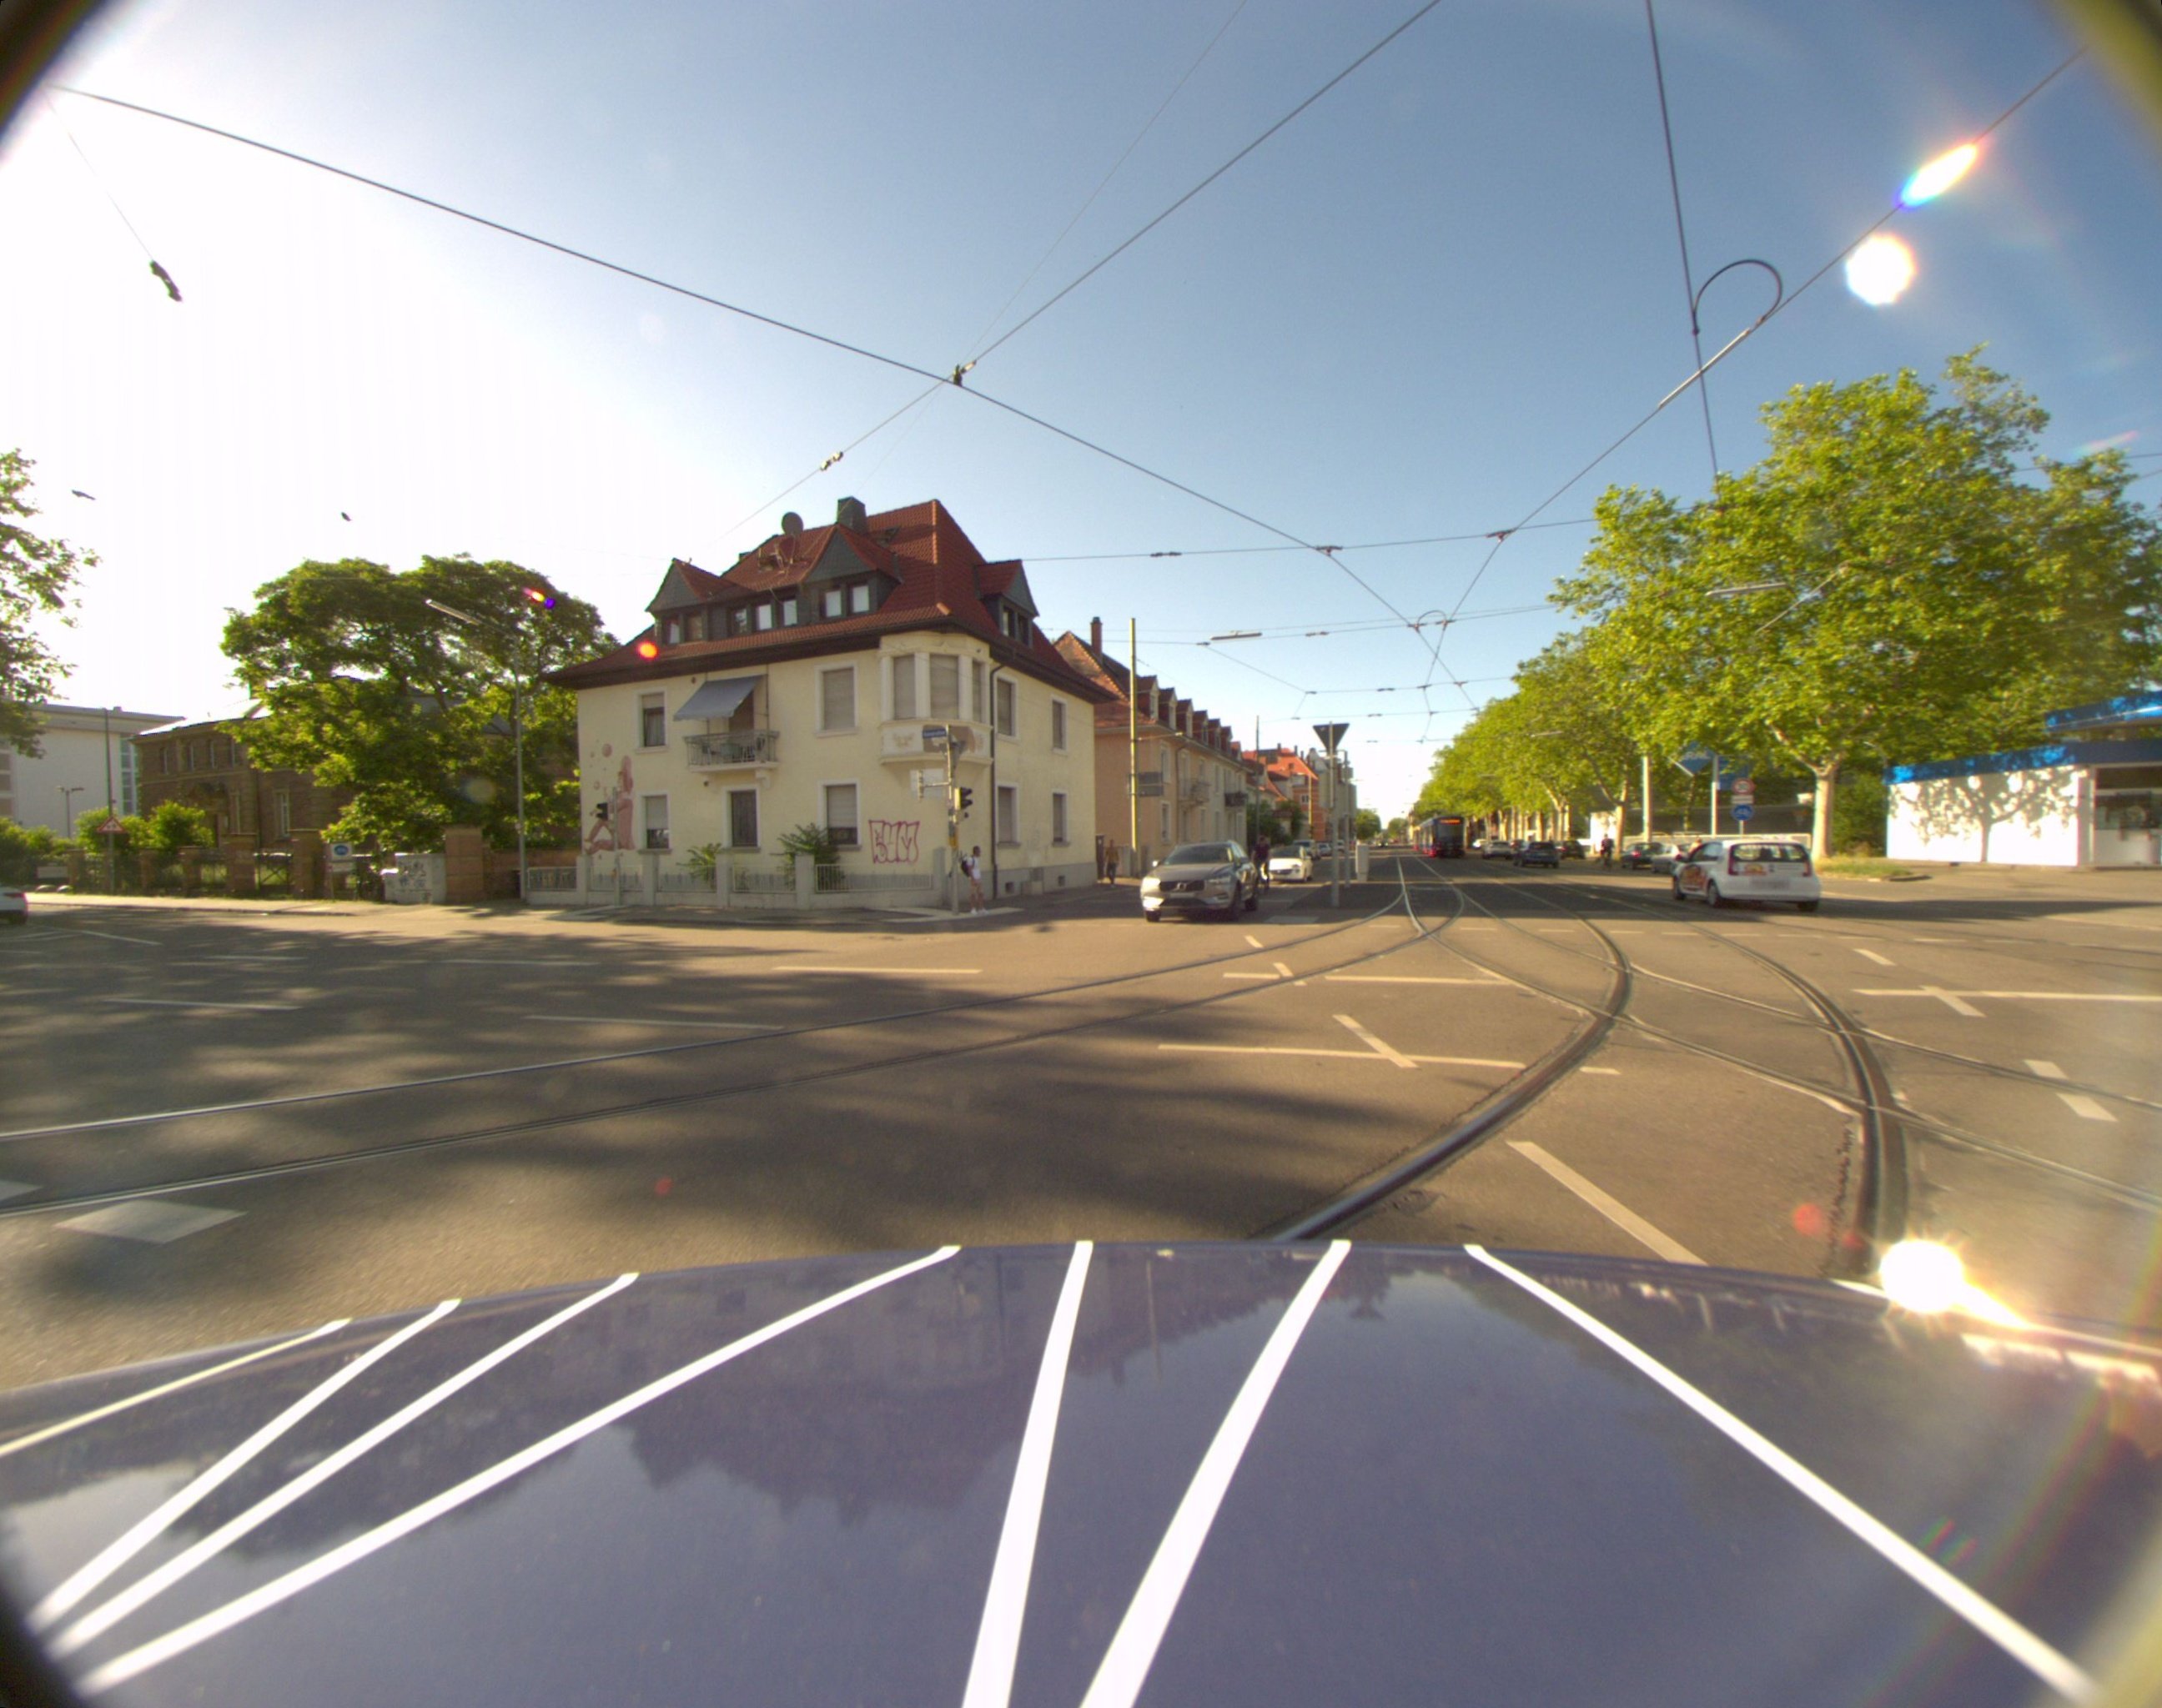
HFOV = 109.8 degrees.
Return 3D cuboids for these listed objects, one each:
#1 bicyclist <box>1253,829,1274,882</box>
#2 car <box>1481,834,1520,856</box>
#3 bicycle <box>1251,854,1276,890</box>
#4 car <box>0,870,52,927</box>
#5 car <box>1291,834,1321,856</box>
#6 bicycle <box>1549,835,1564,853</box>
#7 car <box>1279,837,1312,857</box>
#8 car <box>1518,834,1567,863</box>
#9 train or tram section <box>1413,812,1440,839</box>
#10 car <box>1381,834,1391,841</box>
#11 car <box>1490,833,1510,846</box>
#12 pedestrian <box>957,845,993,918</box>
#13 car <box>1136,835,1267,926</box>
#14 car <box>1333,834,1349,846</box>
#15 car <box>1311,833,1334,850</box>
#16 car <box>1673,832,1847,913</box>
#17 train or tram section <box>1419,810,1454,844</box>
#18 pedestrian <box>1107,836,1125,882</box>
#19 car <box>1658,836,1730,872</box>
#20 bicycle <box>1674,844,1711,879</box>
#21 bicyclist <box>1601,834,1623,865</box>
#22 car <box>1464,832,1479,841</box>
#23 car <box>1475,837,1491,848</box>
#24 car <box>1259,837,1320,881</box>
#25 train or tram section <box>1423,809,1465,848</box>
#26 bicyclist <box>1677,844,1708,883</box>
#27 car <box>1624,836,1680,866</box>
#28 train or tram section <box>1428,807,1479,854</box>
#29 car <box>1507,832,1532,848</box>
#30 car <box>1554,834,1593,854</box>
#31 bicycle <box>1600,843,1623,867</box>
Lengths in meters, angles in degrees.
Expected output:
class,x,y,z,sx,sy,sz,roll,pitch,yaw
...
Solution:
class,x,y,z,sx,sy,sz,roll,pitch,yaw
bicyclist,5.976,0.037,24.899,0.599,1.710,0.663,0,3,19
car,31.692,-0.718,57.479,1.995,1.489,4.352,3,4,21
bicycle,5.996,0.554,24.926,0.599,1.051,1.992,0,3,19
car,-31.335,1.234,21.146,4.492,1.446,1.921,0,3,19
car,20.016,-0.822,67.335,1.929,1.835,5.320,0,3,23
bicycle,32.264,-0.721,51.583,0.485,1.159,2.059,0,3,22
car,17.591,-0.604,62.237,1.878,1.478,4.006,1,3,26
car,25.565,-0.345,42.204,1.775,1.489,4.579,1,3,24
train or tram section,49.418,-4.073,108.939,3.058,3.593,11.964,0,2,22
car,67.157,-3.617,167.403,1.879,1.478,4.005,0,2,21
car,54.193,-1.872,98.263,1.879,1.543,4.005,1,3,24
pedestrian,-2.620,0.668,18.755,0.675,1.731,0.687,0,5,-26
car,2.783,0.447,16.632,1.914,1.622,4.508,0,2,21
car,36.515,-1.967,106.640,1.879,1.478,4.005,0,2,21
car,27.025,-1.463,84.774,1.929,1.750,5.320,0,3,23
car,14.309,0.291,16.280,1.719,1.489,3.588,0,3,24
train or tram section,40.415,-3.095,86.613,3.058,3.593,12.130,0,2,22
pedestrian,1.350,0.190,29.224,0.601,1.751,0.487,0,3,13
car,27.398,-0.016,34.063,1.776,1.416,3.543,-3,1,27
bicycle,22.146,0.253,27.542,0.485,1.159,1.960,0,3,22
bicyclist,27.394,-0.232,39.195,0.696,1.563,0.892,0,3,22
car,70.244,-3.136,136.669,1.879,1.543,4.004,0,2,20
car,60.230,-1.670,113.820,1.879,1.543,4.005,1,3,24
car,8.737,0.130,31.597,1.914,1.622,4.508,0,2,22
train or tram section,35.746,-2.576,75.222,3.058,3.593,12.518,0,2,22
bicyclist,22.125,0.335,27.517,0.604,1.332,0.899,0,3,22
car,29.954,-0.182,39.952,1.776,1.416,3.316,-3,1,27
train or tram section,31.113,-2.031,63.909,3.058,3.593,12.130,0,2,22
car,47.086,-1.512,81.644,1.879,1.567,4.005,1,3,24
car,37.764,-0.795,58.330,1.879,1.478,4.005,1,3,24
bicycle,27.334,0.030,39.164,0.485,1.159,2.059,0,3,22
